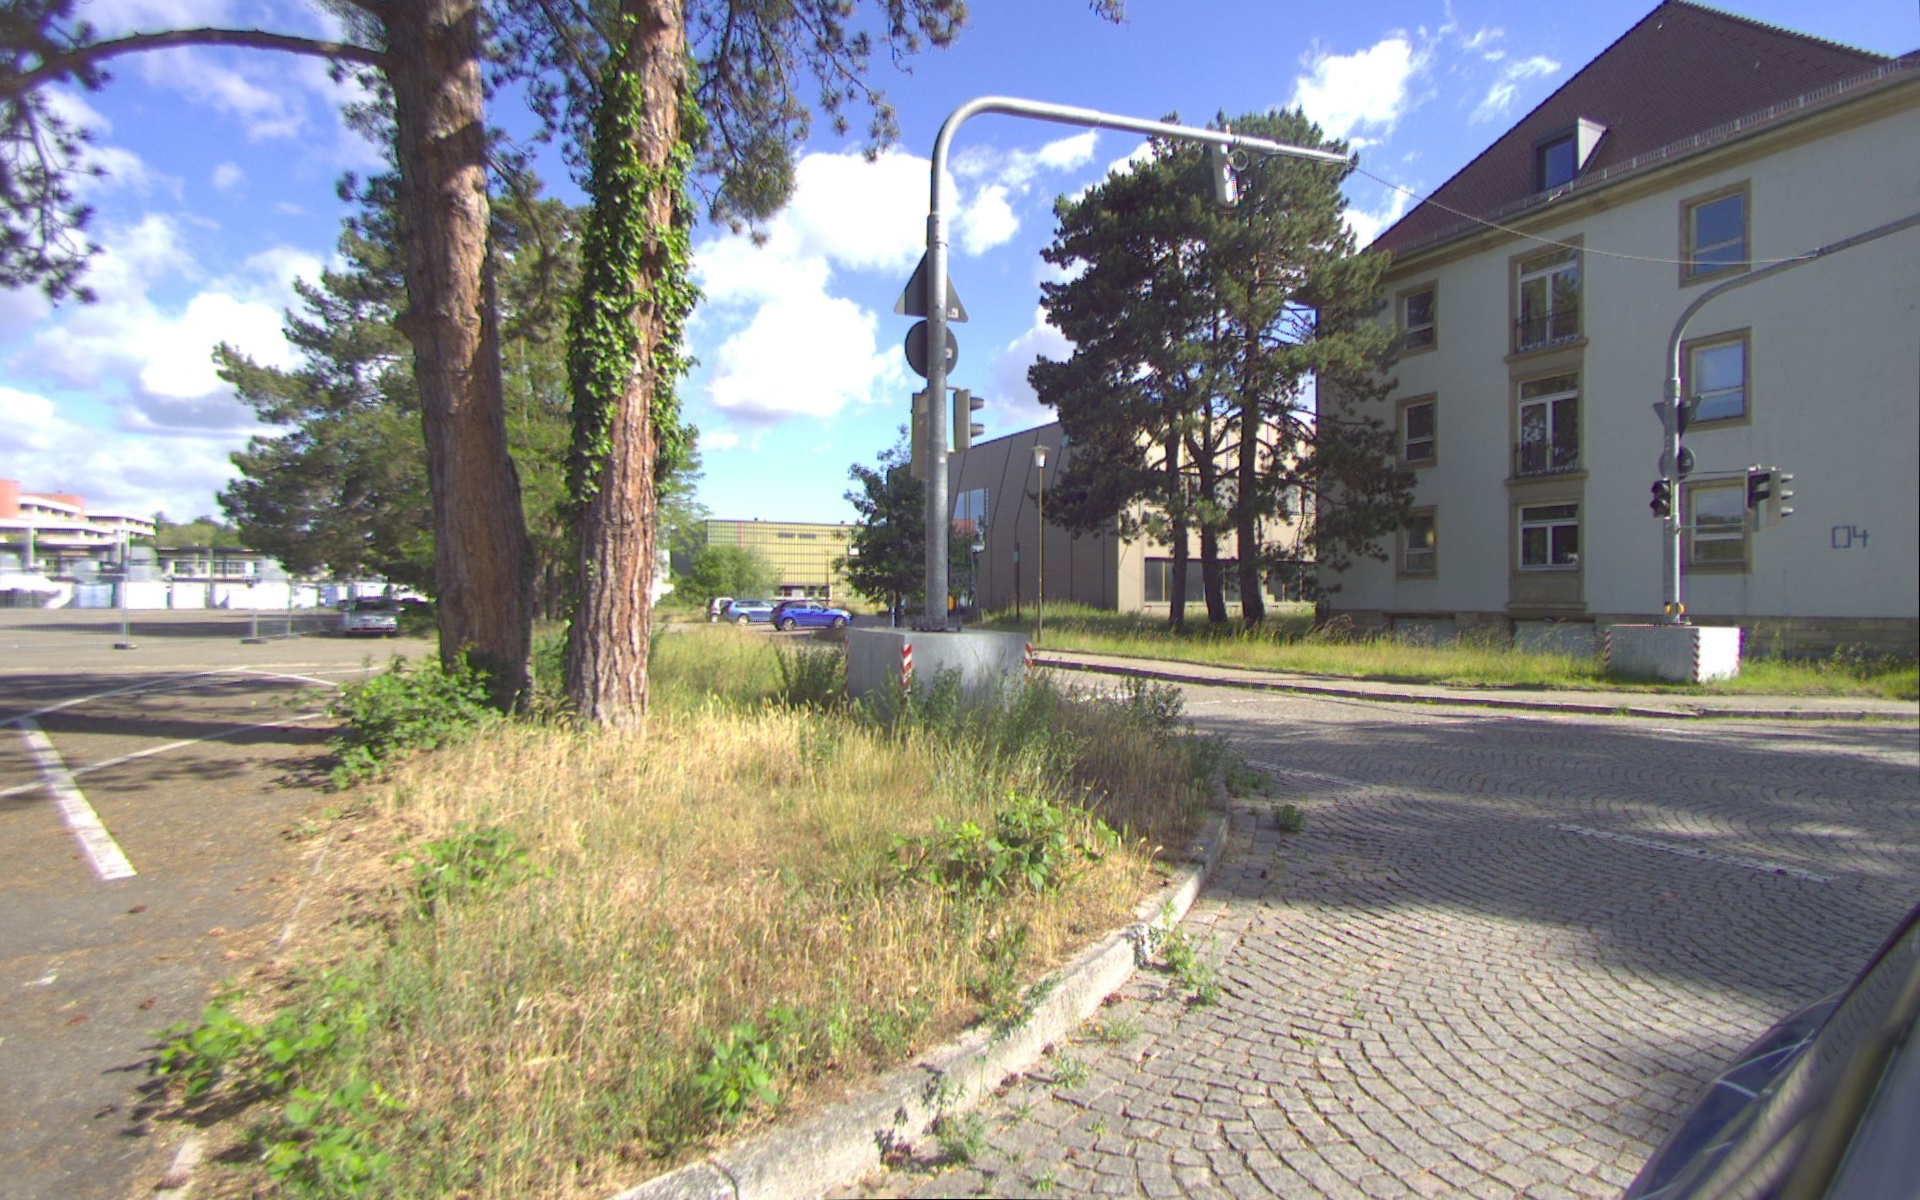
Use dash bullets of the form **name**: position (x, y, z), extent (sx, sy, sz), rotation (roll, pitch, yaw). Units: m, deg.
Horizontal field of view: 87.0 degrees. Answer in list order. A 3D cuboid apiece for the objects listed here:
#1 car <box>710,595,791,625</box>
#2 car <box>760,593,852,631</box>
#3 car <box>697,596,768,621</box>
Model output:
- **car**: position (-11.912, 0.574, 57.625), extent (4.140, 1.584, 1.863), rotation (0, -3, -28)
- **car**: position (-7.487, 0.540, 49.241), extent (3.978, 1.583, 1.865), rotation (-3, 1, -25)
- **car**: position (-14.548, 0.555, 64.712), extent (4.140, 1.584, 1.783), rotation (0, -1, -28)
